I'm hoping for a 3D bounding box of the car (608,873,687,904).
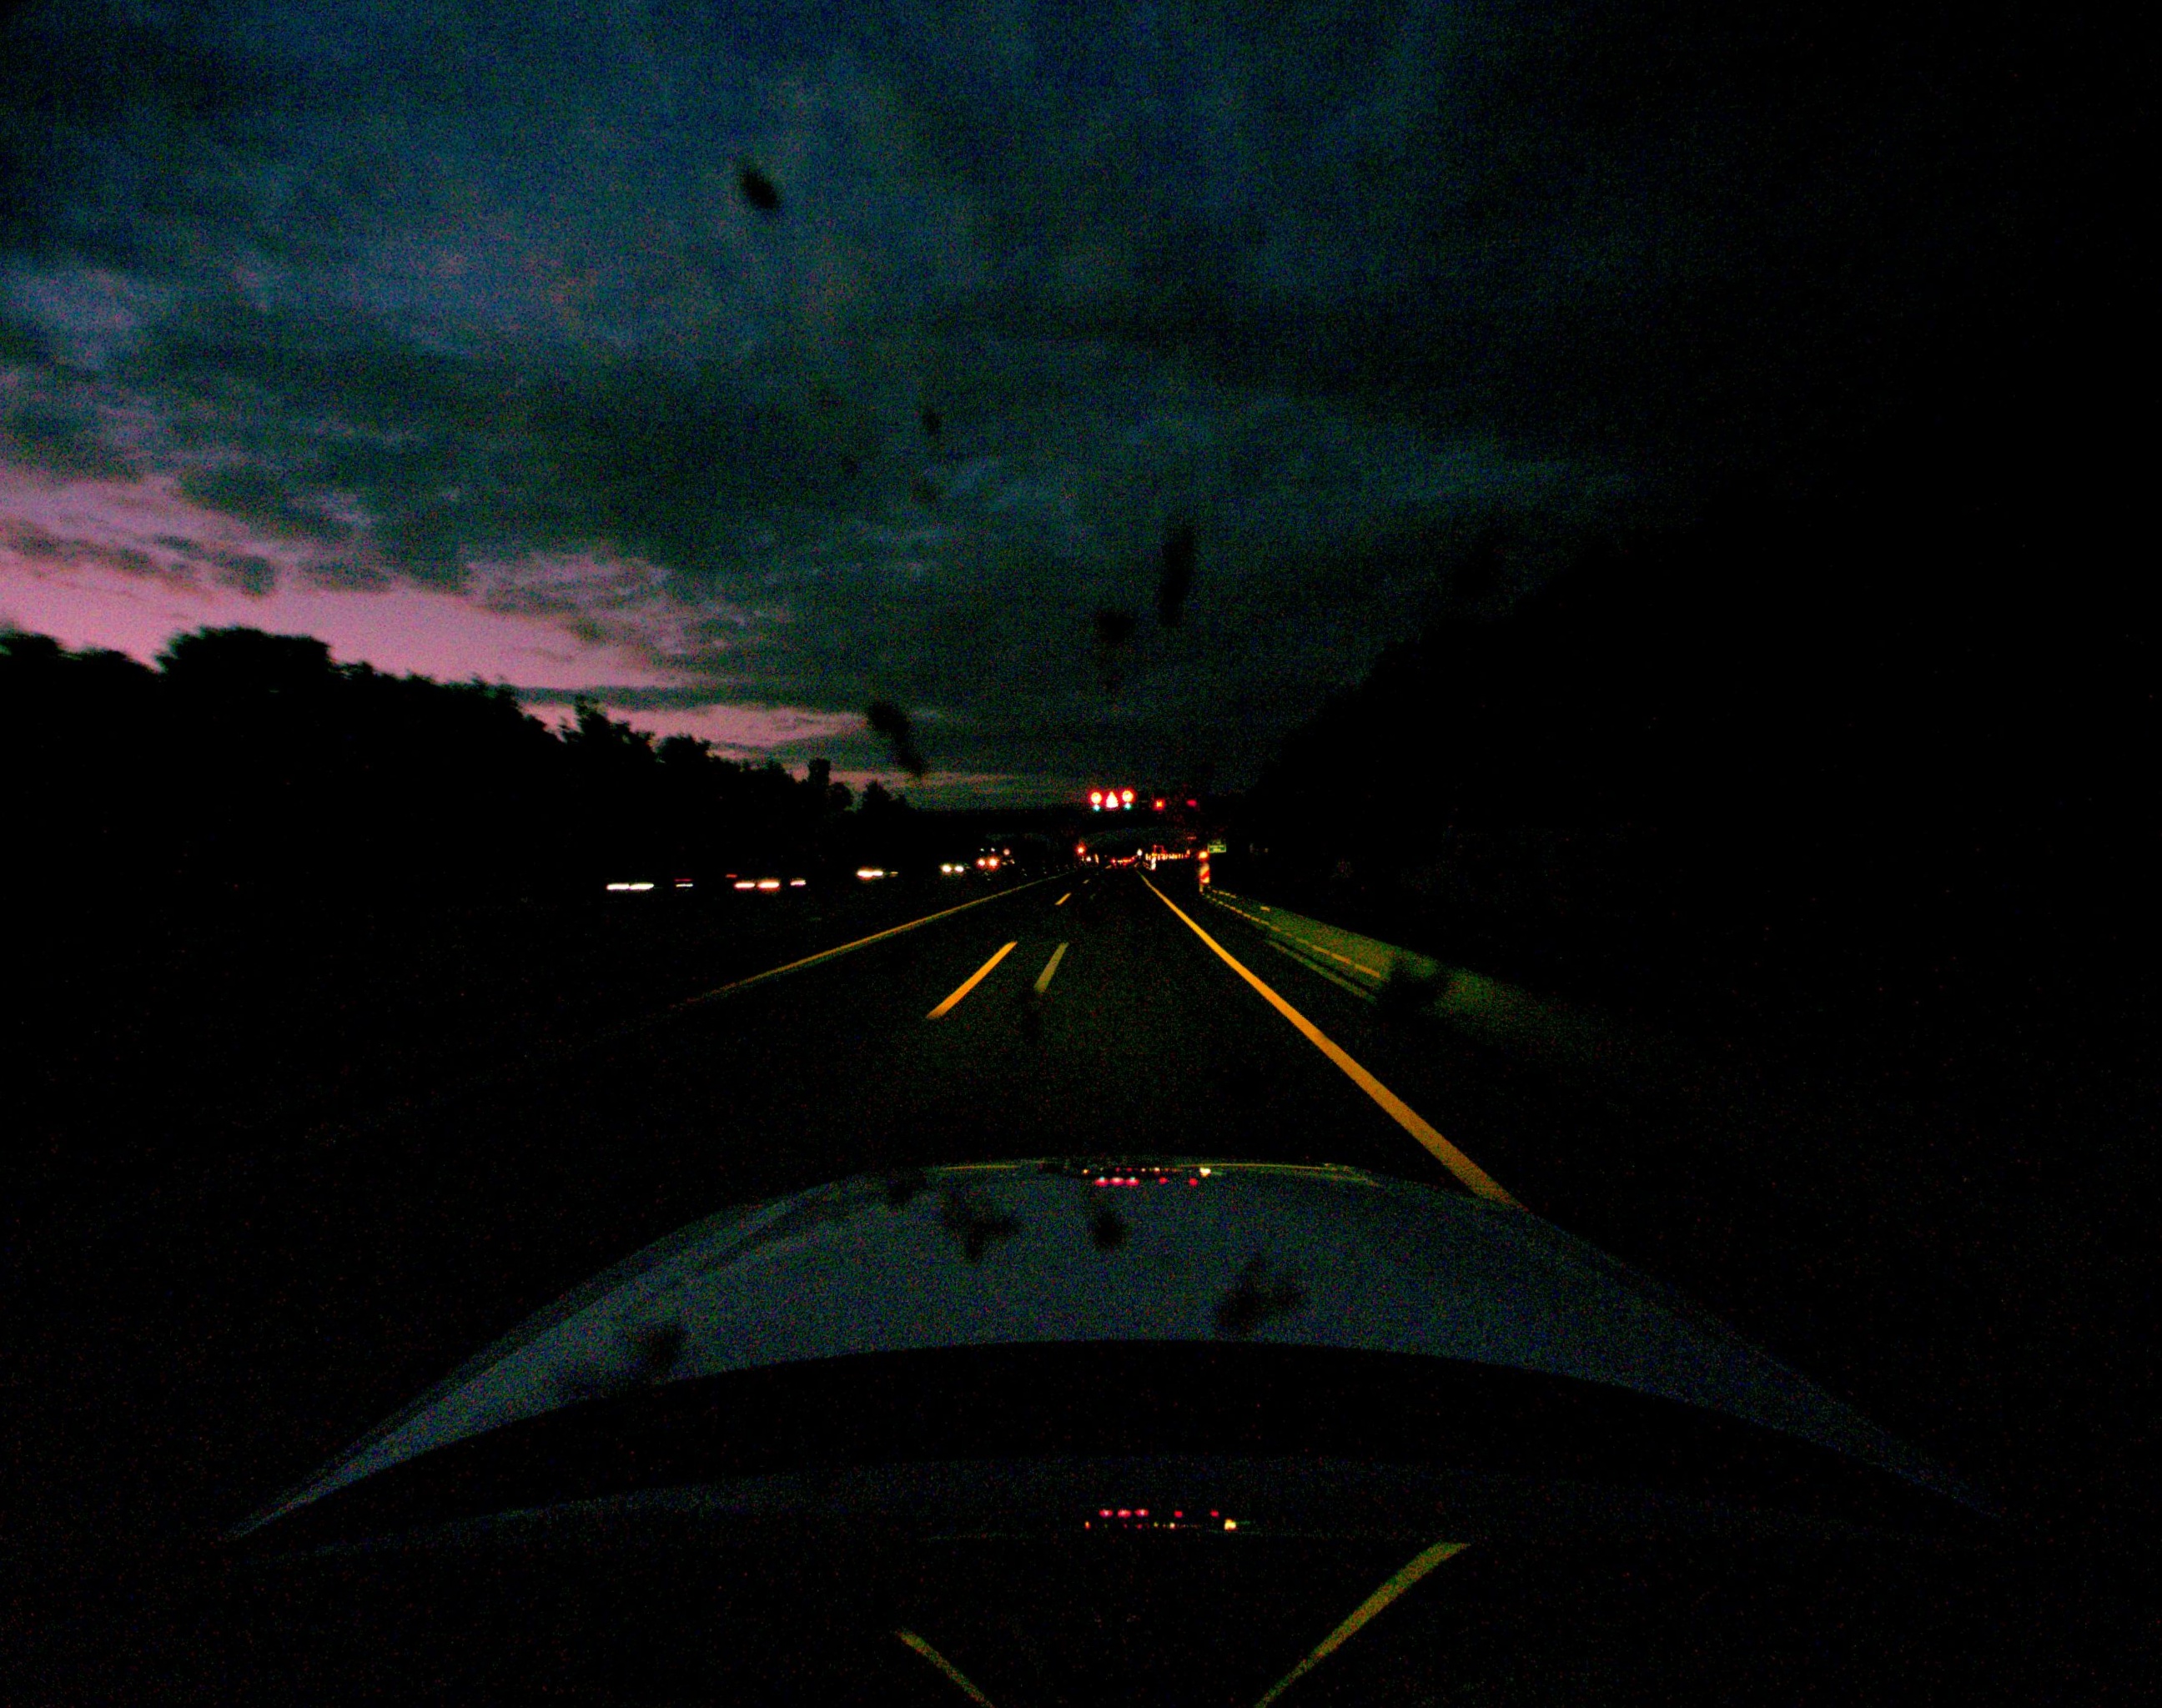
[{"bbox_3d":[-25.220,1.979,47.614,1.796,1.638,4.756,0,-1,4],"label":"car"}]

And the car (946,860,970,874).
[{"bbox_3d":[-14.701,1.549,97.579,1.729,1.638,4.896,0,-1,4],"label":"car"}]

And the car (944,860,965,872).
[{"bbox_3d":[-16.821,1.615,108.293,1.584,1.604,5.041,0,-1,5],"label":"car"}]

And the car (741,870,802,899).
[{"bbox_3d":[-19.173,1.867,50.648,1.672,1.638,4.756,0,-1,4],"label":"car"}]

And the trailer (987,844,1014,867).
[{"bbox_3d":[-15.061,0.275,153.389,2.765,4.206,12.420,0,-1,5],"label":"trailer"}]

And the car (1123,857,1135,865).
[{"bbox_3d":[8.758,1.204,149.601,1.961,1.437,4.007,0,-1,6],"label":"car"}]

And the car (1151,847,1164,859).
[{"bbox_3d":[22.205,-0.250,236.702,3.591,3.396,8.019,0,-1,3],"label":"car"}]

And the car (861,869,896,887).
[{"bbox_3d":[-19.398,2.247,78.107,1.729,1.638,5.175,0,-1,4],"label":"car"}]

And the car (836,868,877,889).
[{"bbox_3d":[-18.318,1.974,66.693,1.796,1.638,4.756,0,-1,4],"label":"car"}]

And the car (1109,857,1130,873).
[{"bbox_3d":[4.166,1.183,88.604,2.257,1.621,4.000,0,-1,1],"label":"car"}]

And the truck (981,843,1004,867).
[{"bbox_3d":[-15.775,0.209,145.486,2.764,4.171,6.395,0,-1,5],"label":"truck"}]
